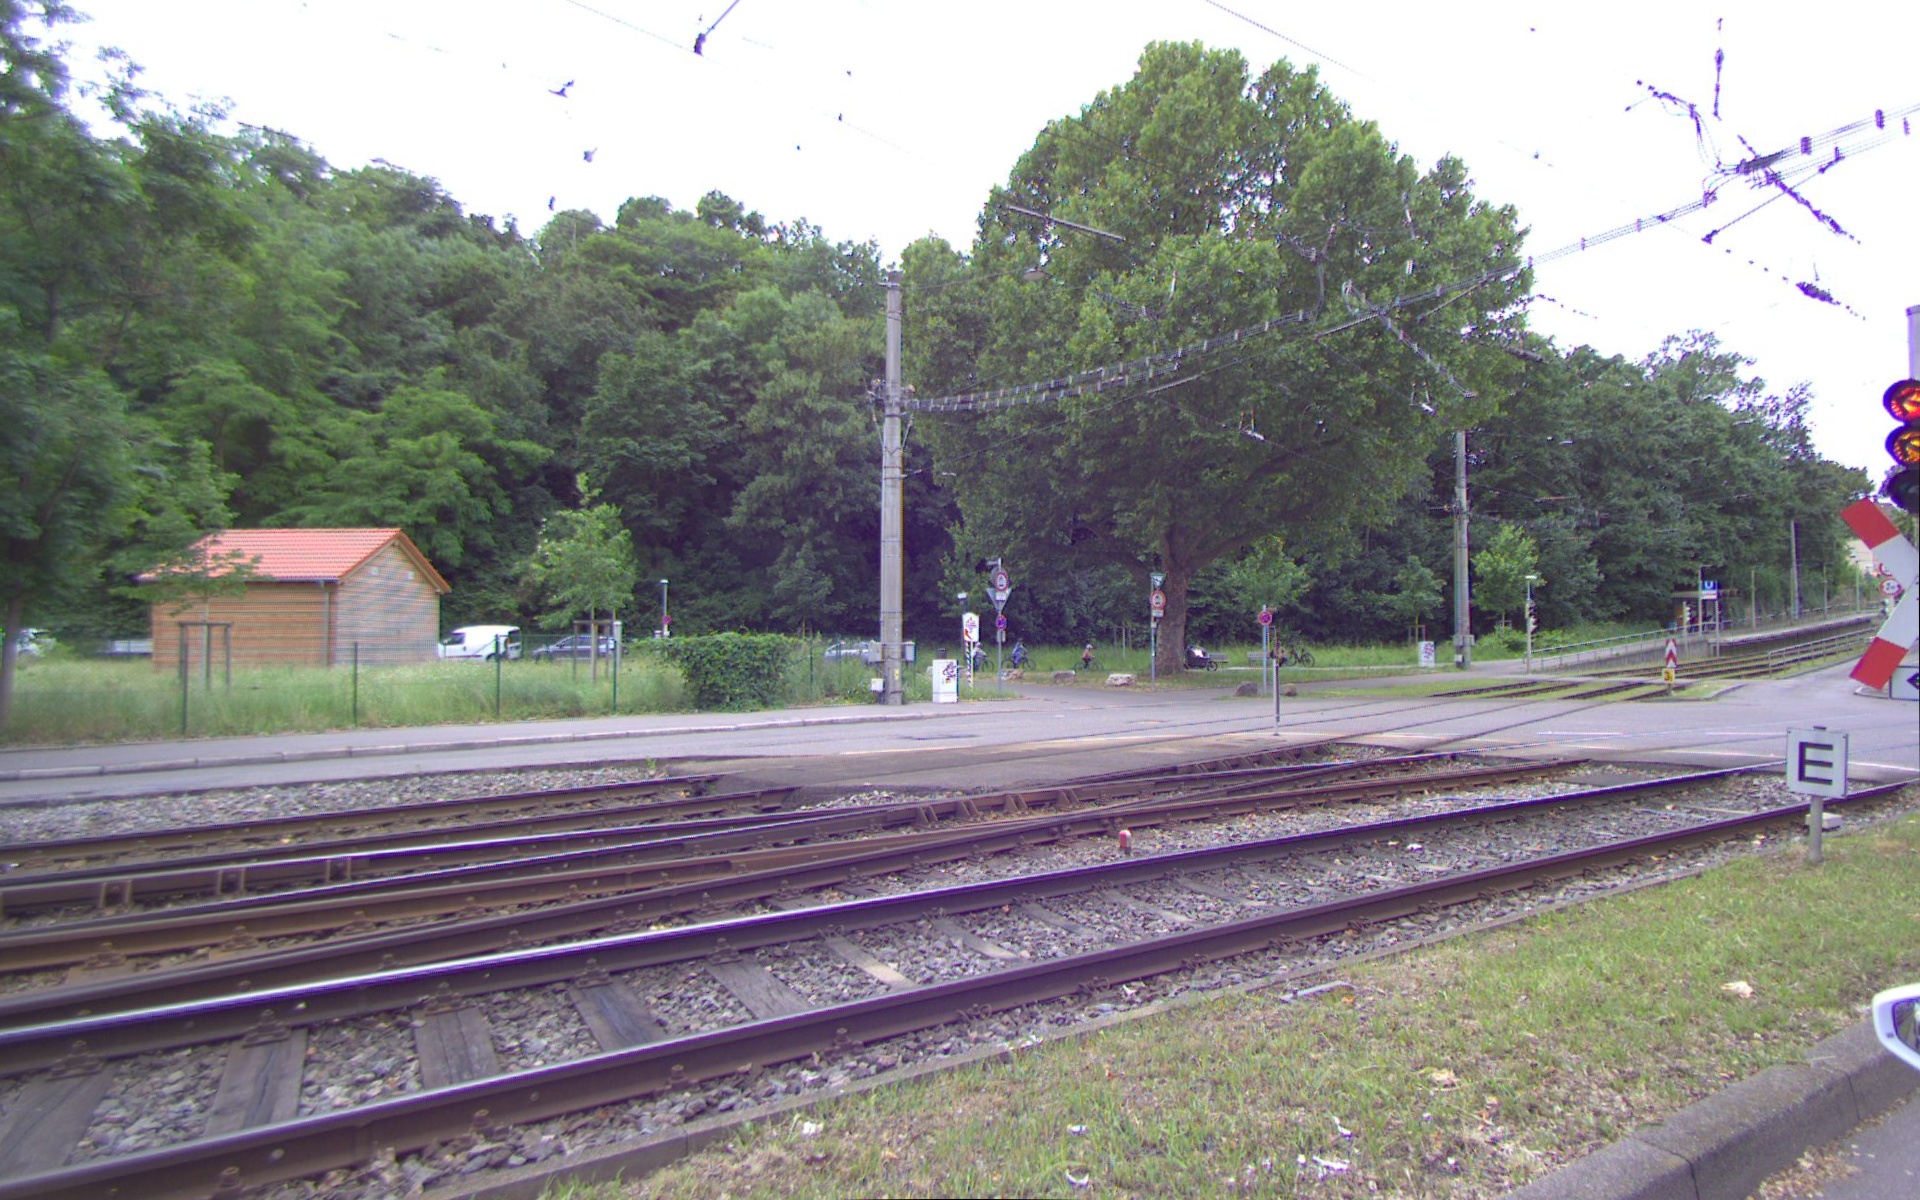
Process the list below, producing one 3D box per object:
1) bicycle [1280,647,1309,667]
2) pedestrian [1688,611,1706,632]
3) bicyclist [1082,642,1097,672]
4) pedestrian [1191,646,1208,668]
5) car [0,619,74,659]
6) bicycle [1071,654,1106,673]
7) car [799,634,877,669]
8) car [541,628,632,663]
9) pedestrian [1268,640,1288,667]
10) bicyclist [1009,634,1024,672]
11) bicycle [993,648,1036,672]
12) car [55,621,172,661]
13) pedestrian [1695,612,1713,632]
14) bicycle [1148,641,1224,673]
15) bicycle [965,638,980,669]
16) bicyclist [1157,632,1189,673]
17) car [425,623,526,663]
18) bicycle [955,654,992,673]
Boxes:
[{"bbox_3d":[16.427,2.796,49.351,0.611,0.897,1.743,2,0,-10],"label":"bicycle"},{"bbox_3d":[49.126,1.447,66.954,0.780,1.344,0.766,-1,2,-37],"label":"pedestrian"},{"bbox_3d":[5.913,2.600,45.859,0.569,1.319,0.455,-2,2,2],"label":"bicyclist"},{"bbox_3d":[11.507,2.732,48.304,0.610,1.003,0.530,2,0,-15],"label":"pedestrian"},{"bbox_3d":[-41.790,1.689,44.353,3.612,1.634,1.756,2,0,-6],"label":"car"},{"bbox_3d":[5.858,2.887,45.869,1.528,0.749,0.455,-2,2,2],"label":"bicycle"},{"bbox_3d":[-5.657,2.385,46.841,3.436,1.443,1.700,2,0,-3],"label":"car"},{"bbox_3d":[-16.864,2.038,45.460,3.436,1.443,1.700,2,0,-3],"label":"car"},{"bbox_3d":[15.447,2.594,48.769,0.662,1.251,0.578,2,0,-16],"label":"pedestrian"},{"bbox_3d":[2.576,2.405,45.680,0.611,1.697,0.475,0,2,-3],"label":"bicyclist"},{"bbox_3d":[2.490,2.731,45.687,1.907,1.055,0.475,0,1,-3],"label":"bicycle"},{"bbox_3d":[-37.597,1.817,44.675,3.610,1.634,1.757,2,0,-3],"label":"car"},{"bbox_3d":[50.074,1.479,67.610,0.780,1.344,0.766,2,0,-38],"label":"pedestrian"},{"bbox_3d":[10.247,2.581,45.646,3.282,1.307,0.735,-2,2,-4],"label":"bicycle"},{"bbox_3d":[0.566,2.394,45.141,0.508,1.348,0.453,-1,2,-20],"label":"bicycle"},{"bbox_3d":[9.660,2.370,45.580,1.268,1.734,0.735,-2,2,-4],"label":"bicyclist"},{"bbox_3d":[-21.910,1.937,45.517,3.610,1.634,1.909,2,0,-3],"label":"car"},{"bbox_3d":[0.603,2.865,45.167,1.628,0.749,0.453,-1,2,-21],"label":"bicycle"}]
